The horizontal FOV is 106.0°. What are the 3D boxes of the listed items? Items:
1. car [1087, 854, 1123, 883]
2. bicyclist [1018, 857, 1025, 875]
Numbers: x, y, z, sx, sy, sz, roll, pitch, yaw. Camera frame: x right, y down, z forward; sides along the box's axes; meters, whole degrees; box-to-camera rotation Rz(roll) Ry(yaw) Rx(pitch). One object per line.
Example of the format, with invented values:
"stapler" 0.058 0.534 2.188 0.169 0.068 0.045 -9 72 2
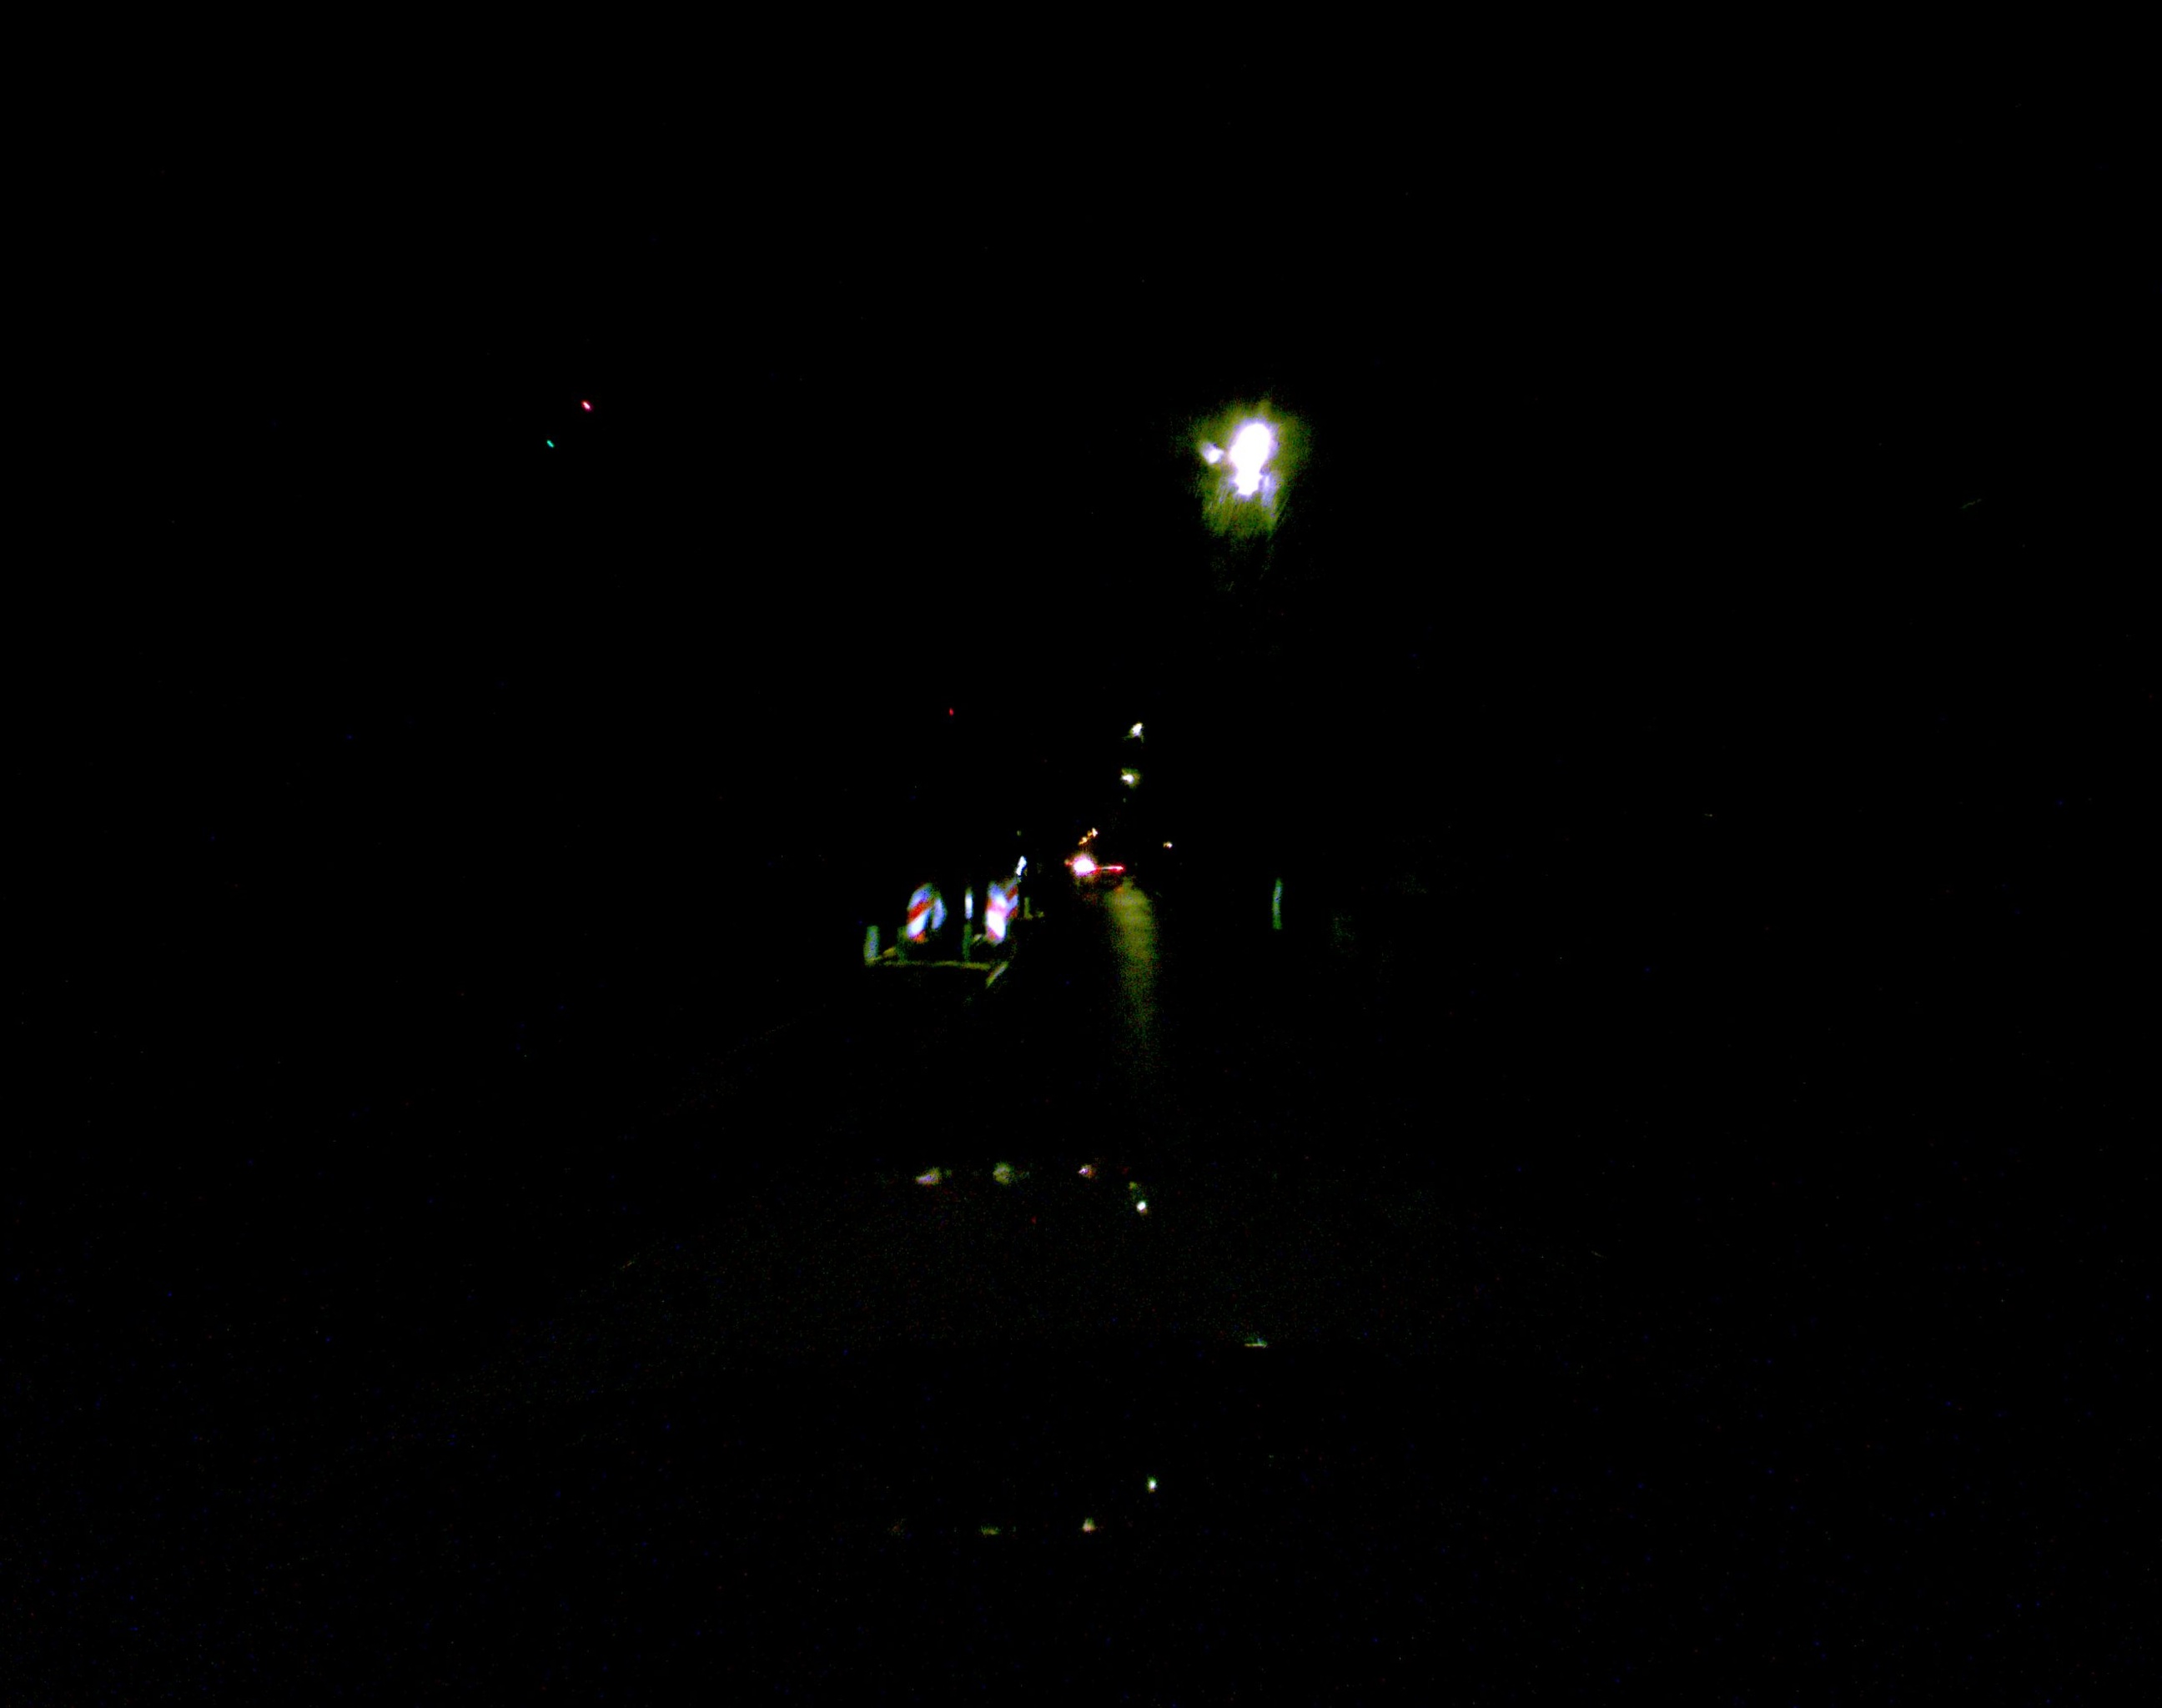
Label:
"car" 1.407 0.853 49.563 1.988 1.684 3.997 0 0 -2
"bicyclist" -5.652 1.136 77.348 0.634 1.594 0.960 -1 2 0
